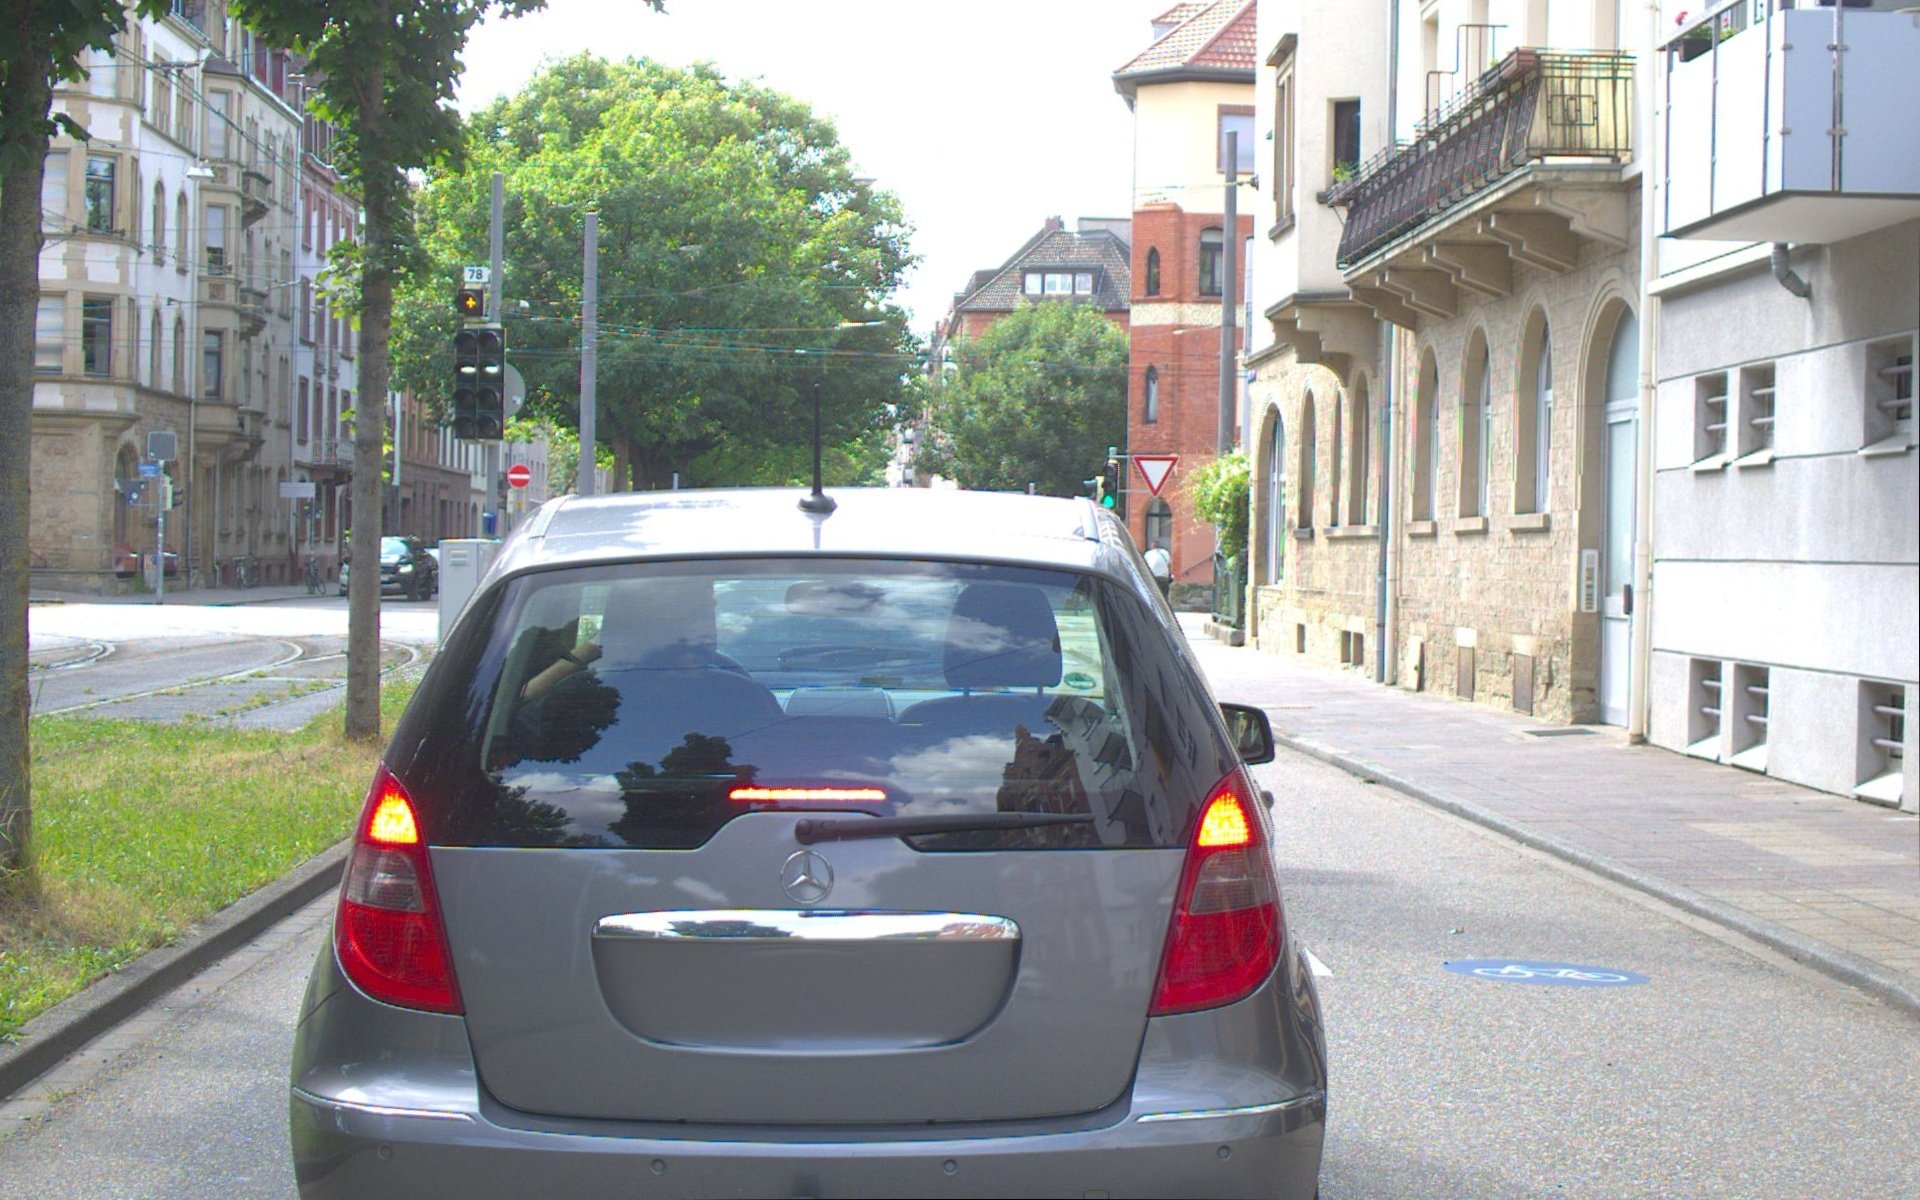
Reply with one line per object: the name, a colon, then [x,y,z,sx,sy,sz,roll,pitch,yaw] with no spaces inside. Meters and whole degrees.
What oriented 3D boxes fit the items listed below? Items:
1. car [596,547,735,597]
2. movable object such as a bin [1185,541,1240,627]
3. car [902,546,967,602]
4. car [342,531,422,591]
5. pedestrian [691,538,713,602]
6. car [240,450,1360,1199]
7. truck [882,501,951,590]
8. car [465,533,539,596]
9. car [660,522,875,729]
car: [-8.463,-0.806,98.596,1.969,1.334,3.999,1,1,-40]
movable object such as a bin: [4.367,-0.276,59.593,0.714,1.467,0.983,0,1,-10]
car: [-0.763,-0.792,103.990,1.752,1.627,3.499,1,1,2]
car: [-16.060,-1.100,95.704,1.993,1.612,4.001,0,1,-7]
pedestrian: [-6.944,-0.812,92.581,0.493,1.719,0.654,1,1,-11]
car: [-0.269,0.553,7.162,1.722,1.600,3.677,1,1,-1]
truck: [-1.452,-1.838,116.850,2.123,2.960,4.000,1,1,2]
car: [-12.938,-1.020,97.243,1.993,1.722,4.001,0,1,-7]
car: [-1.641,0.185,30.341,1.722,1.700,3.677,1,1,-1]
